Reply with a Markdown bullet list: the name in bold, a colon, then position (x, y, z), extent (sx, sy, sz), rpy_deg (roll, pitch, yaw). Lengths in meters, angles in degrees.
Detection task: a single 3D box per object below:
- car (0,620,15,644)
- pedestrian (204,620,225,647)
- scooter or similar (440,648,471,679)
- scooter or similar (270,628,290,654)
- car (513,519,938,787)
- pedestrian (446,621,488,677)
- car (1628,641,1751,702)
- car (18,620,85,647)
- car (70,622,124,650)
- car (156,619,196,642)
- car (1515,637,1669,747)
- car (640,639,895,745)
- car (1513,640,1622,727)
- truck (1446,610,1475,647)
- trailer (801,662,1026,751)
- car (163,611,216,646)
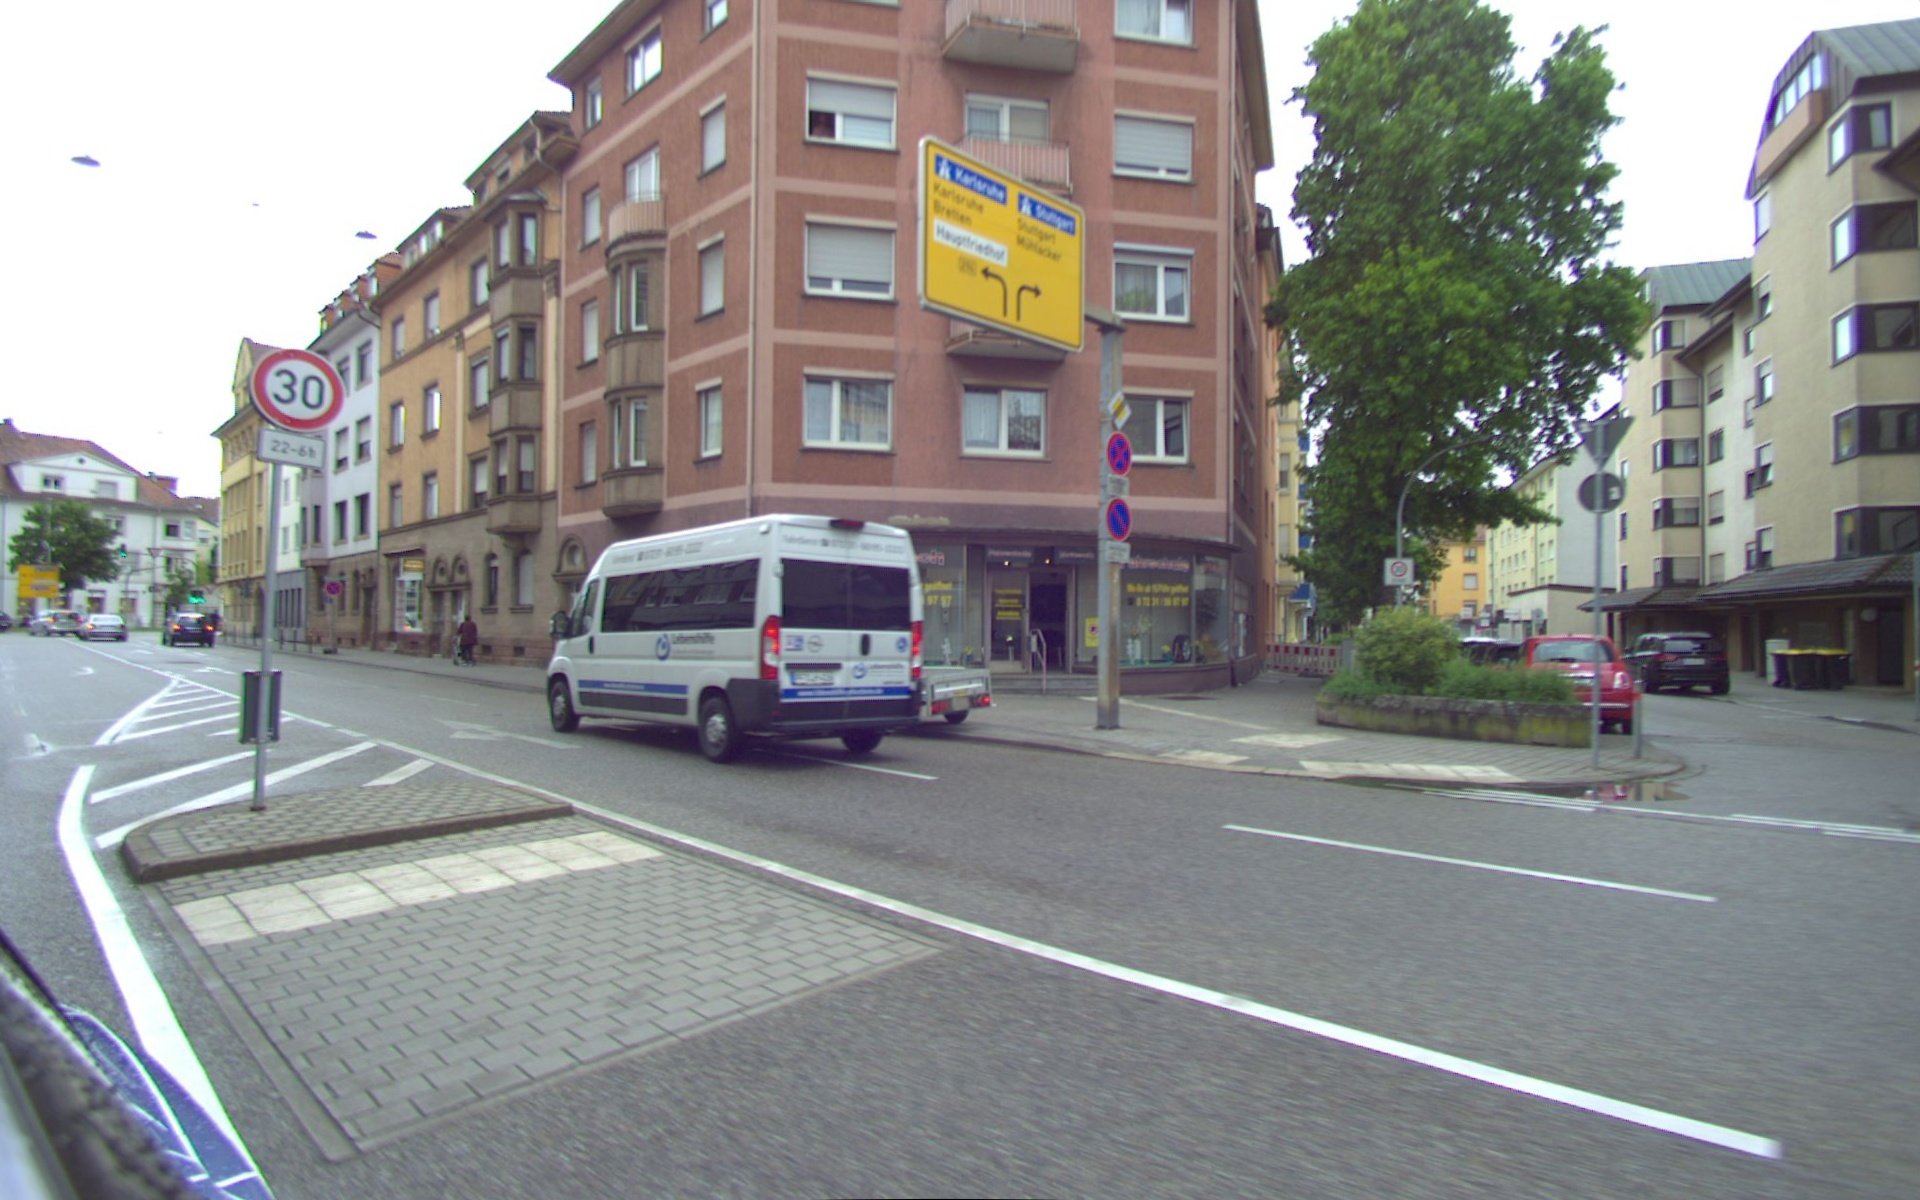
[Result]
- **car**: position (-66.120, 2.123, 67.418), extent (4.542, 1.595, 1.948), rpy_deg (1, -2, 2)
- **pedestrian**: position (-49.353, 2.209, 67.020), extent (1.033, 1.784, 0.883), rpy_deg (-1, 2, 44)
- **scooter or similar**: position (-15.975, 2.001, 32.046), extent (0.479, 0.932, 0.706), rpy_deg (-1, 0, 33)
- **scooter or similar**: position (-34.207, 2.057, 50.906), extent (1.579, 1.222, 0.456), rpy_deg (-1, 2, 44)
- **car**: position (-3.170, 0.549, 12.284), extent (2.061, 2.454, 6.358), rpy_deg (2, -2, -44)
- **pedestrian**: position (-15.450, 1.517, 31.708), extent (0.851, 1.691, 0.836), rpy_deg (-1, 1, 33)
- **car**: position (21.027, 2.013, 29.367), extent (1.987, 1.564, 3.970), rpy_deg (0, -2, 22)
- **car**: position (-57.337, 2.112, 63.873), extent (4.505, 1.595, 1.928), rpy_deg (0, -2, 32)
- **car**: position (-47.640, 1.957, 55.847), extent (1.920, 1.481, 4.562), rpy_deg (2, -2, -45)
- **car**: position (-56.515, 2.170, 72.906), extent (1.957, 1.607, 4.343), rpy_deg (2, -2, -41)
- **car**: position (9.830, 1.346, 15.980), extent (1.685, 1.494, 3.495), rpy_deg (0, -2, 26)
- **car**: position (-3.388, 1.438, 17.139), extent (1.829, 1.408, 4.795), rpy_deg (-3, 1, -45)
- **car**: position (11.825, 1.561, 19.858), extent (1.686, 1.494, 3.491), rpy_deg (0, -2, 29)
- **truck**: position (44.779, 2.541, 90.555), extent (1.987, 3.205, 4.575), rpy_deg (0, -2, 22)
- **trailer**: position (-0.719, 1.424, 14.207), extent (1.569, 0.956, 3.059), rpy_deg (0, -1, -43)
- **car**: position (-38.929, 1.436, 51.103), extent (1.733, 1.664, 4.312), rpy_deg (2, -2, -42)
